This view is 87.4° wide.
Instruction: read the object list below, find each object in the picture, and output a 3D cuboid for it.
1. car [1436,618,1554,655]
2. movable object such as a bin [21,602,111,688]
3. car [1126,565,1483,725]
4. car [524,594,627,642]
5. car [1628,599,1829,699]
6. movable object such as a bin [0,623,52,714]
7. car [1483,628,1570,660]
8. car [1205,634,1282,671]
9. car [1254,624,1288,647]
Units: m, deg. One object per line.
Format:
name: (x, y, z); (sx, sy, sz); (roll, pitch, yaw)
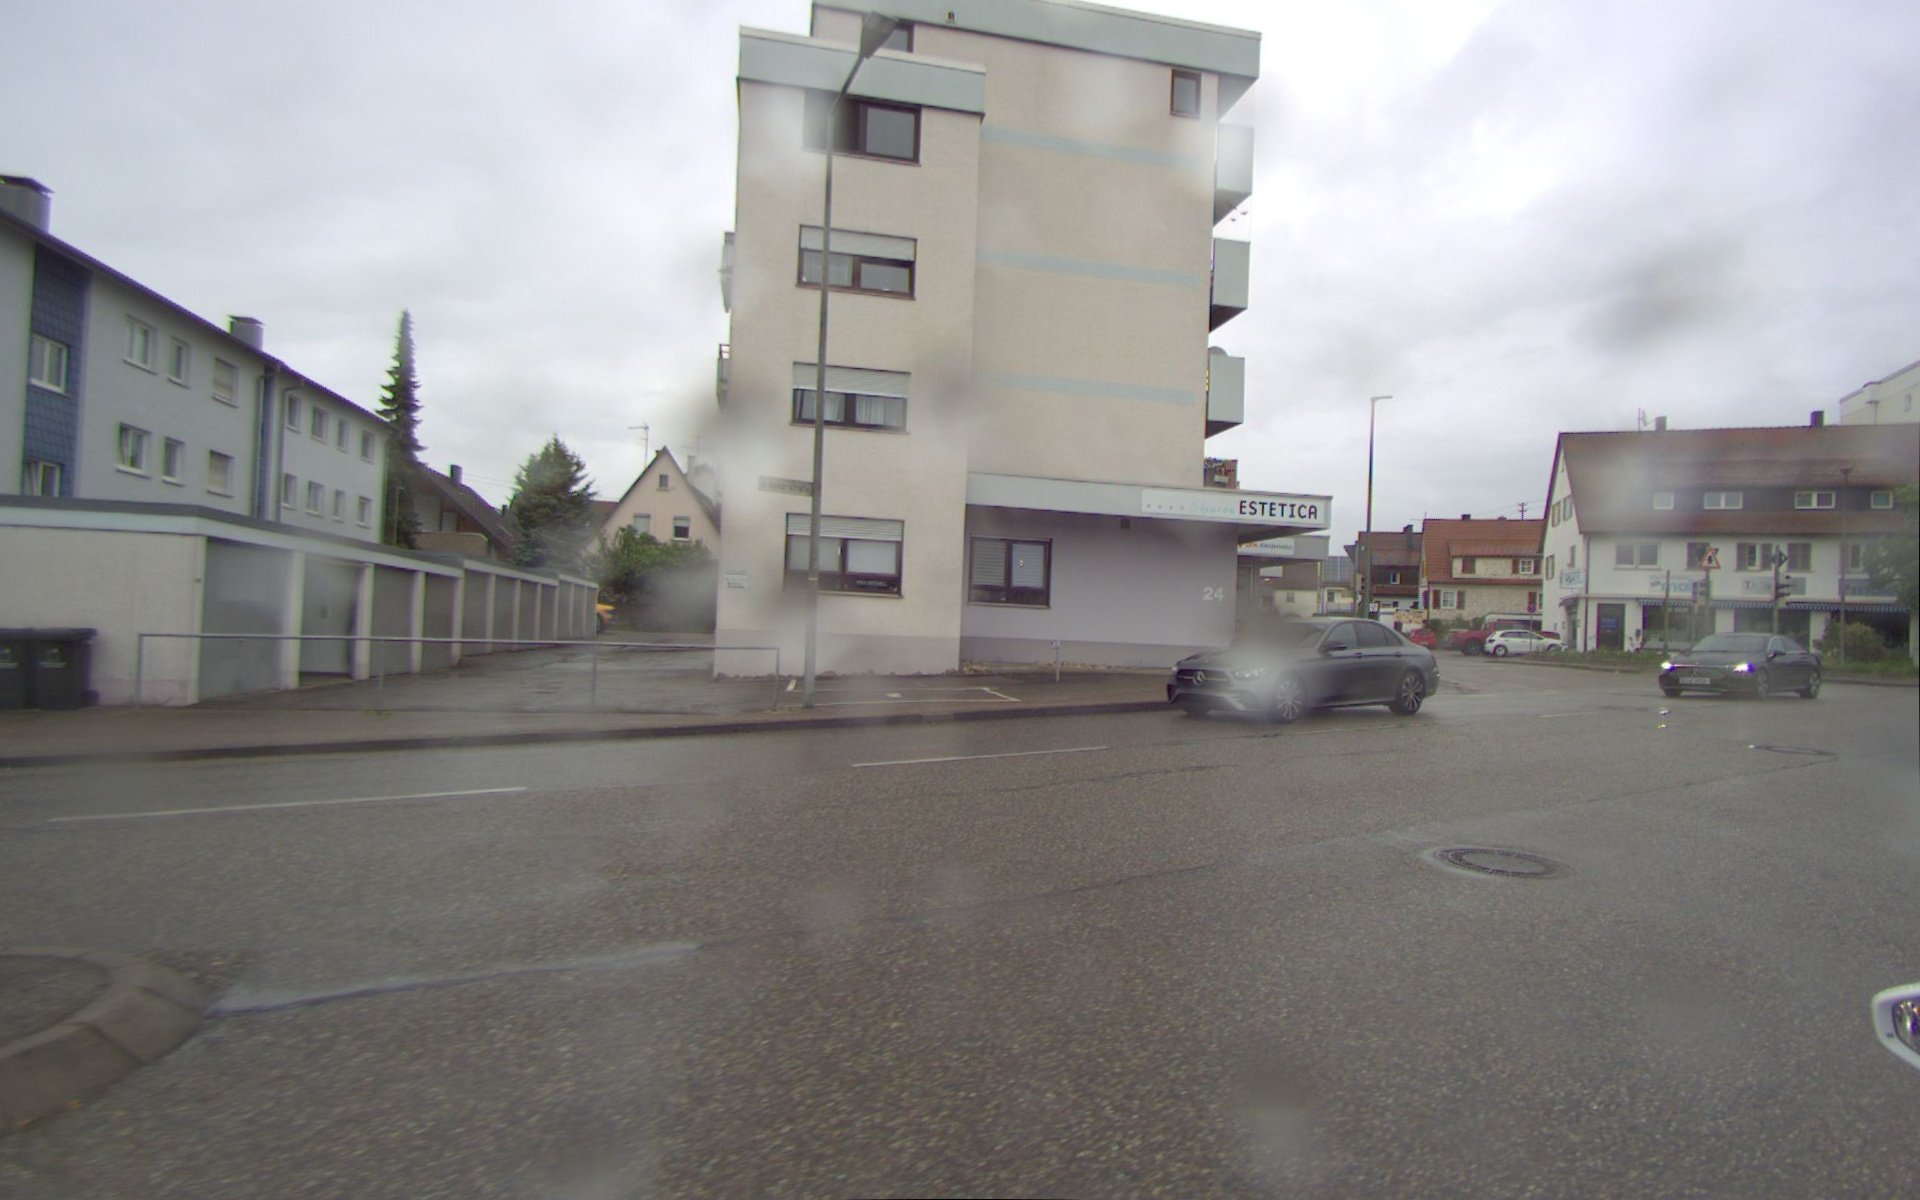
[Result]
car: (30.812, 2.078, 58.047); (5.736, 1.866, 2.001); (1, -1, 18)
movable object such as a bin: (-10.382, 0.519, 11.680); (0.591, 0.974, 0.499); (1, -1, -12)
car: (5.410, 0.700, 15.363); (5.919, 2.040, 2.077); (2, -3, -35)
car: (-17.508, 0.828, 45.930); (3.924, 2.040, 1.999); (1, -1, -5)
car: (17.342, 1.077, 22.636); (4.597, 2.040, 1.984); (2, -1, -30)
movable object such as a bin: (-10.943, 0.781, 11.579); (0.525, 0.974, 0.499); (2, 3, -12)
car: (30.994, 2.391, 55.093); (3.924, 1.546, 1.999); (1, -1, 24)
car: (15.238, 2.803, 54.003); (3.841, 1.756, 1.835); (1, -1, 20)
car: (21.361, 2.404, 69.114); (1.797, 1.453, 4.291); (2, -1, 12)
